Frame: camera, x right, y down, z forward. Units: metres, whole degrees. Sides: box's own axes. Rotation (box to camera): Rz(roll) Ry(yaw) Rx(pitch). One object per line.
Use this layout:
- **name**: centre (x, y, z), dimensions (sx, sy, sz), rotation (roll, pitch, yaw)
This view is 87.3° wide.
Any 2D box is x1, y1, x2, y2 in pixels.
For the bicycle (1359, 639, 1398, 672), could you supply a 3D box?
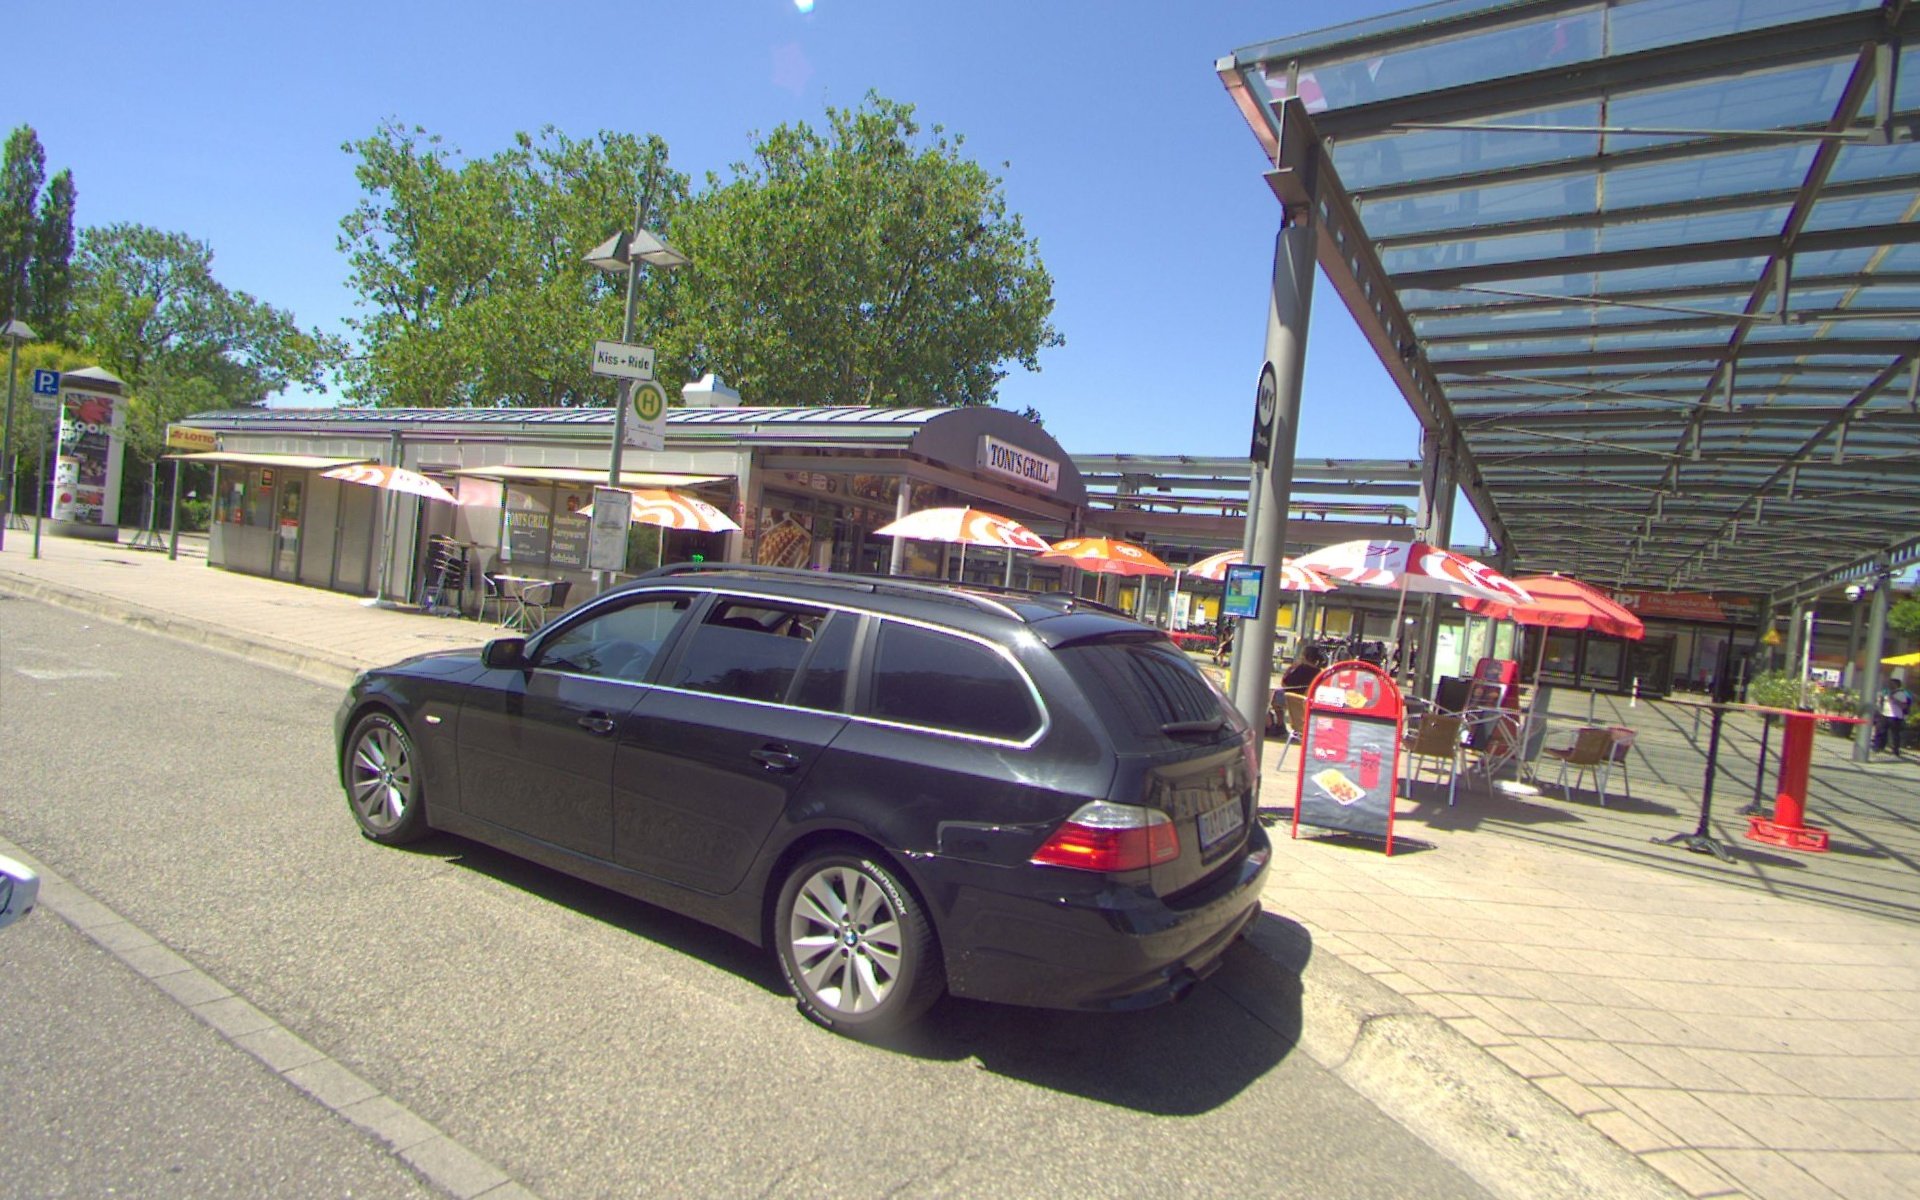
- **bicycle**: centre (16.054, 2.137, 38.561), dimensions (0.951, 1.015, 2.793), rotation (6, -2, 30)

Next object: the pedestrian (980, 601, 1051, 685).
- **pedestrian**: centre (0.878, 0.683, 15.860), dimensions (0.725, 1.219, 0.760), rotation (6, -1, 32)

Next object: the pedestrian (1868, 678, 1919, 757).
- **pedestrian**: centre (22.808, 2.876, 24.570), dimensions (0.684, 1.832, 0.625), rotation (5, 2, -36)

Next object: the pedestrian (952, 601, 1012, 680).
- **pedestrian**: centre (0.368, 0.674, 16.763), dimensions (0.653, 1.219, 0.585), rotation (8, -1, -42)

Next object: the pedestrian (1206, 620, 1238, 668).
- **pedestrian**: centre (8.147, 1.373, 31.277), dimensions (0.665, 1.413, 0.625), rotation (6, 3, 32)

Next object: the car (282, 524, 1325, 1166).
- **car**: centre (-0.963, 0.588, 4.730), dimensions (4.646, 1.480, 1.926), rotation (7, 3, 31)

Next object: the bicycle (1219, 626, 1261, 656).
- **bicycle**: centre (11.643, 1.711, 41.774), dimensions (0.951, 1.015, 2.793), rotation (6, -2, 30)

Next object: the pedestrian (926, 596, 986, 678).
- **pedestrian**: centre (-0.063, 0.595, 16.071), dimensions (0.582, 1.219, 0.656), rotation (6, -1, 32)

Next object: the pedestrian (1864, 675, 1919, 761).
- **pedestrian**: centre (21.465, 2.702, 23.109), dimensions (0.620, 1.832, 0.596), rotation (6, 2, 3)

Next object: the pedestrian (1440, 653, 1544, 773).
- **pedestrian**: centre (6.488, 1.349, 12.254), dimensions (0.881, 1.294, 0.845), rotation (7, 1, 36)

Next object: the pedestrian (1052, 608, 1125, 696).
- **pedestrian**: centre (1.955, 0.793, 15.239), dimensions (0.725, 1.219, 0.760), rotation (6, -1, 32)

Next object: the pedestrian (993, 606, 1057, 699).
- **pedestrian**: centre (0.891, 0.710, 14.056), dimensions (0.676, 1.176, 0.894), rotation (6, 1, -2)

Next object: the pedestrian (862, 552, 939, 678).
- **pedestrian**: centre (-0.870, 0.234, 14.838), dimensions (0.695, 1.760, 0.687), rotation (7, 1, 32)

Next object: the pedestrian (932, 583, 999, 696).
- **pedestrian**: centre (0.055, 0.484, 12.863), dimensions (0.676, 1.329, 0.894), rotation (6, 1, -2)

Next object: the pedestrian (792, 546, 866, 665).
- **pedestrian**: centre (-2.043, 0.094, 15.687), dimensions (0.695, 1.760, 0.686), rotation (7, 1, 32)

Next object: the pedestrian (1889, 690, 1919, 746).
- **pedestrian**: centre (25.549, 3.150, 26.593), dimensions (0.958, 1.372, 1.051), rotation (4, 2, 11)

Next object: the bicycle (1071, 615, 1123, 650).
- **bicycle**: centre (4.982, 1.207, 36.520), dimensions (0.797, 1.015, 2.793), rotation (6, -2, 30)

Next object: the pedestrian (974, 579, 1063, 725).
- **pedestrian**: centre (0.608, 0.536, 10.789), dimensions (0.676, 1.436, 0.894), rotation (6, 1, -5)

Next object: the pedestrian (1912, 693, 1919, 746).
- **pedestrian**: centre (26.777, 3.310, 27.368), dimensions (1.035, 1.372, 0.973), rotation (5, 3, 34)

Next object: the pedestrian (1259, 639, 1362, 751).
- **pedestrian**: centre (4.164, 1.111, 11.944), dimensions (0.881, 1.176, 0.686), rotation (7, 1, 37)
